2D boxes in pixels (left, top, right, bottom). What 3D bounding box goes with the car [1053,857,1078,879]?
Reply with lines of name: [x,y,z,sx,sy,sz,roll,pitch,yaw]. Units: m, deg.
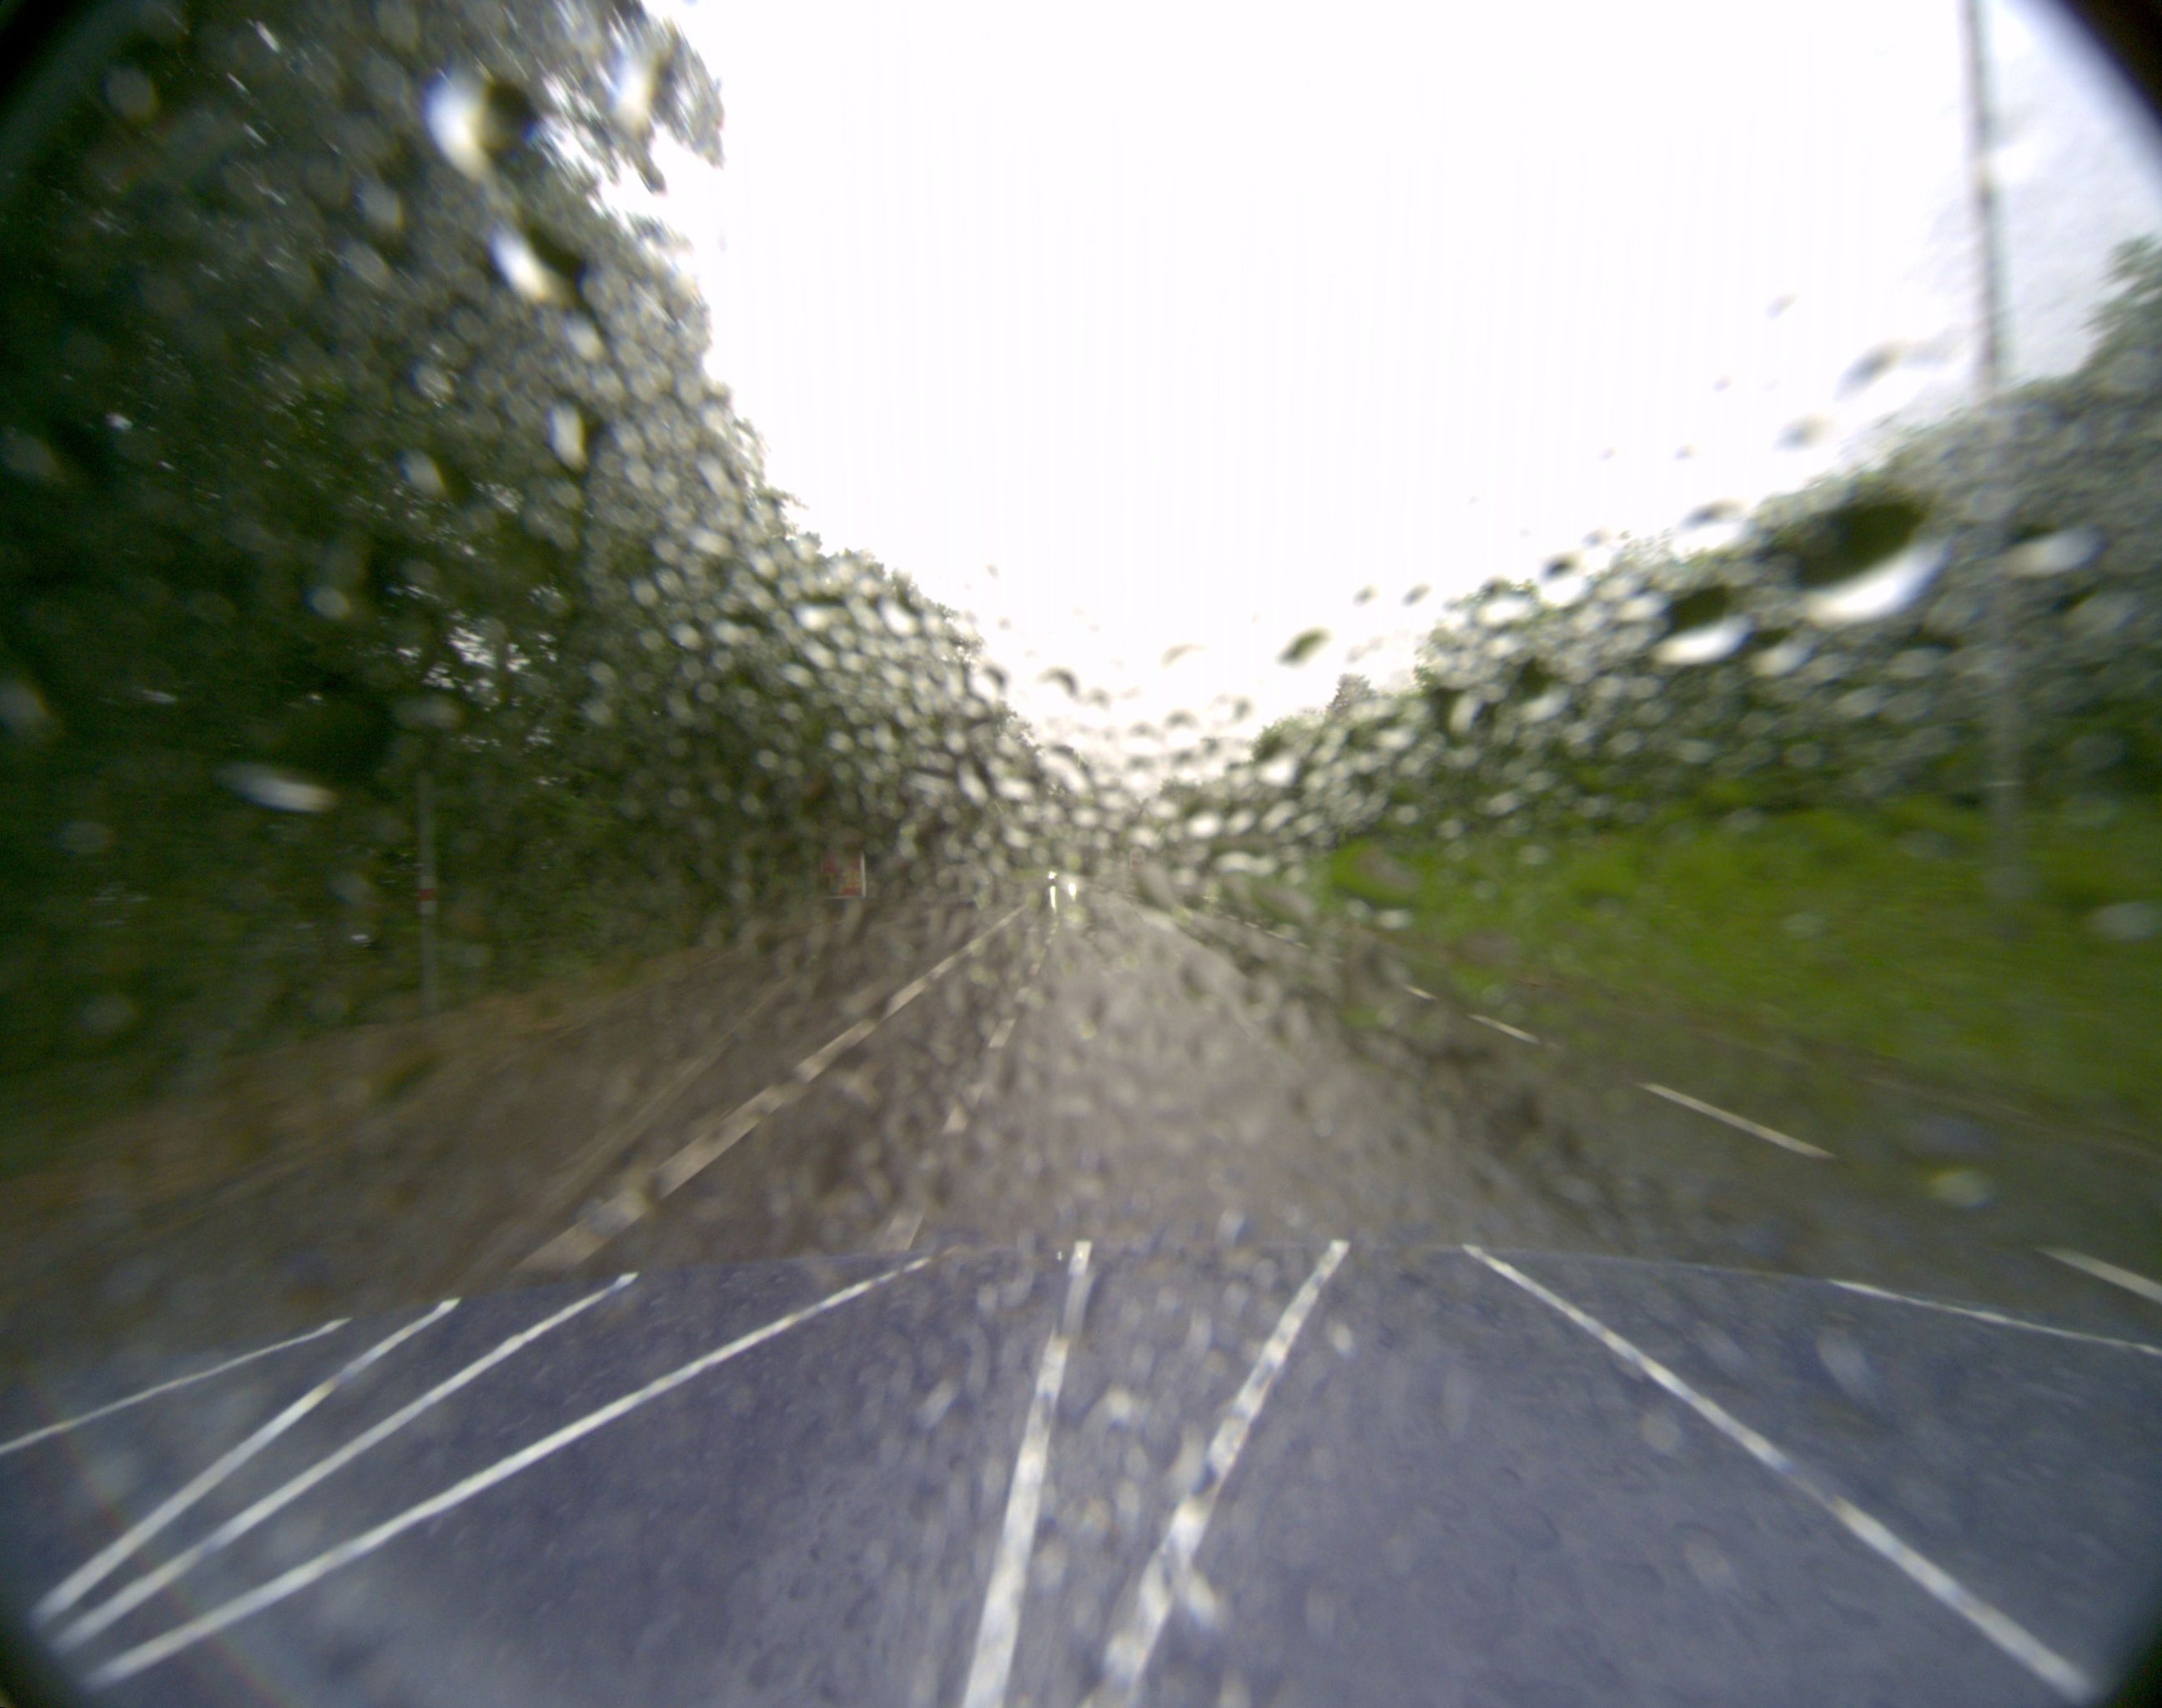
car: [-1.180,1.081,58.605,1.799,1.543,3.999,-2,0,-1]
